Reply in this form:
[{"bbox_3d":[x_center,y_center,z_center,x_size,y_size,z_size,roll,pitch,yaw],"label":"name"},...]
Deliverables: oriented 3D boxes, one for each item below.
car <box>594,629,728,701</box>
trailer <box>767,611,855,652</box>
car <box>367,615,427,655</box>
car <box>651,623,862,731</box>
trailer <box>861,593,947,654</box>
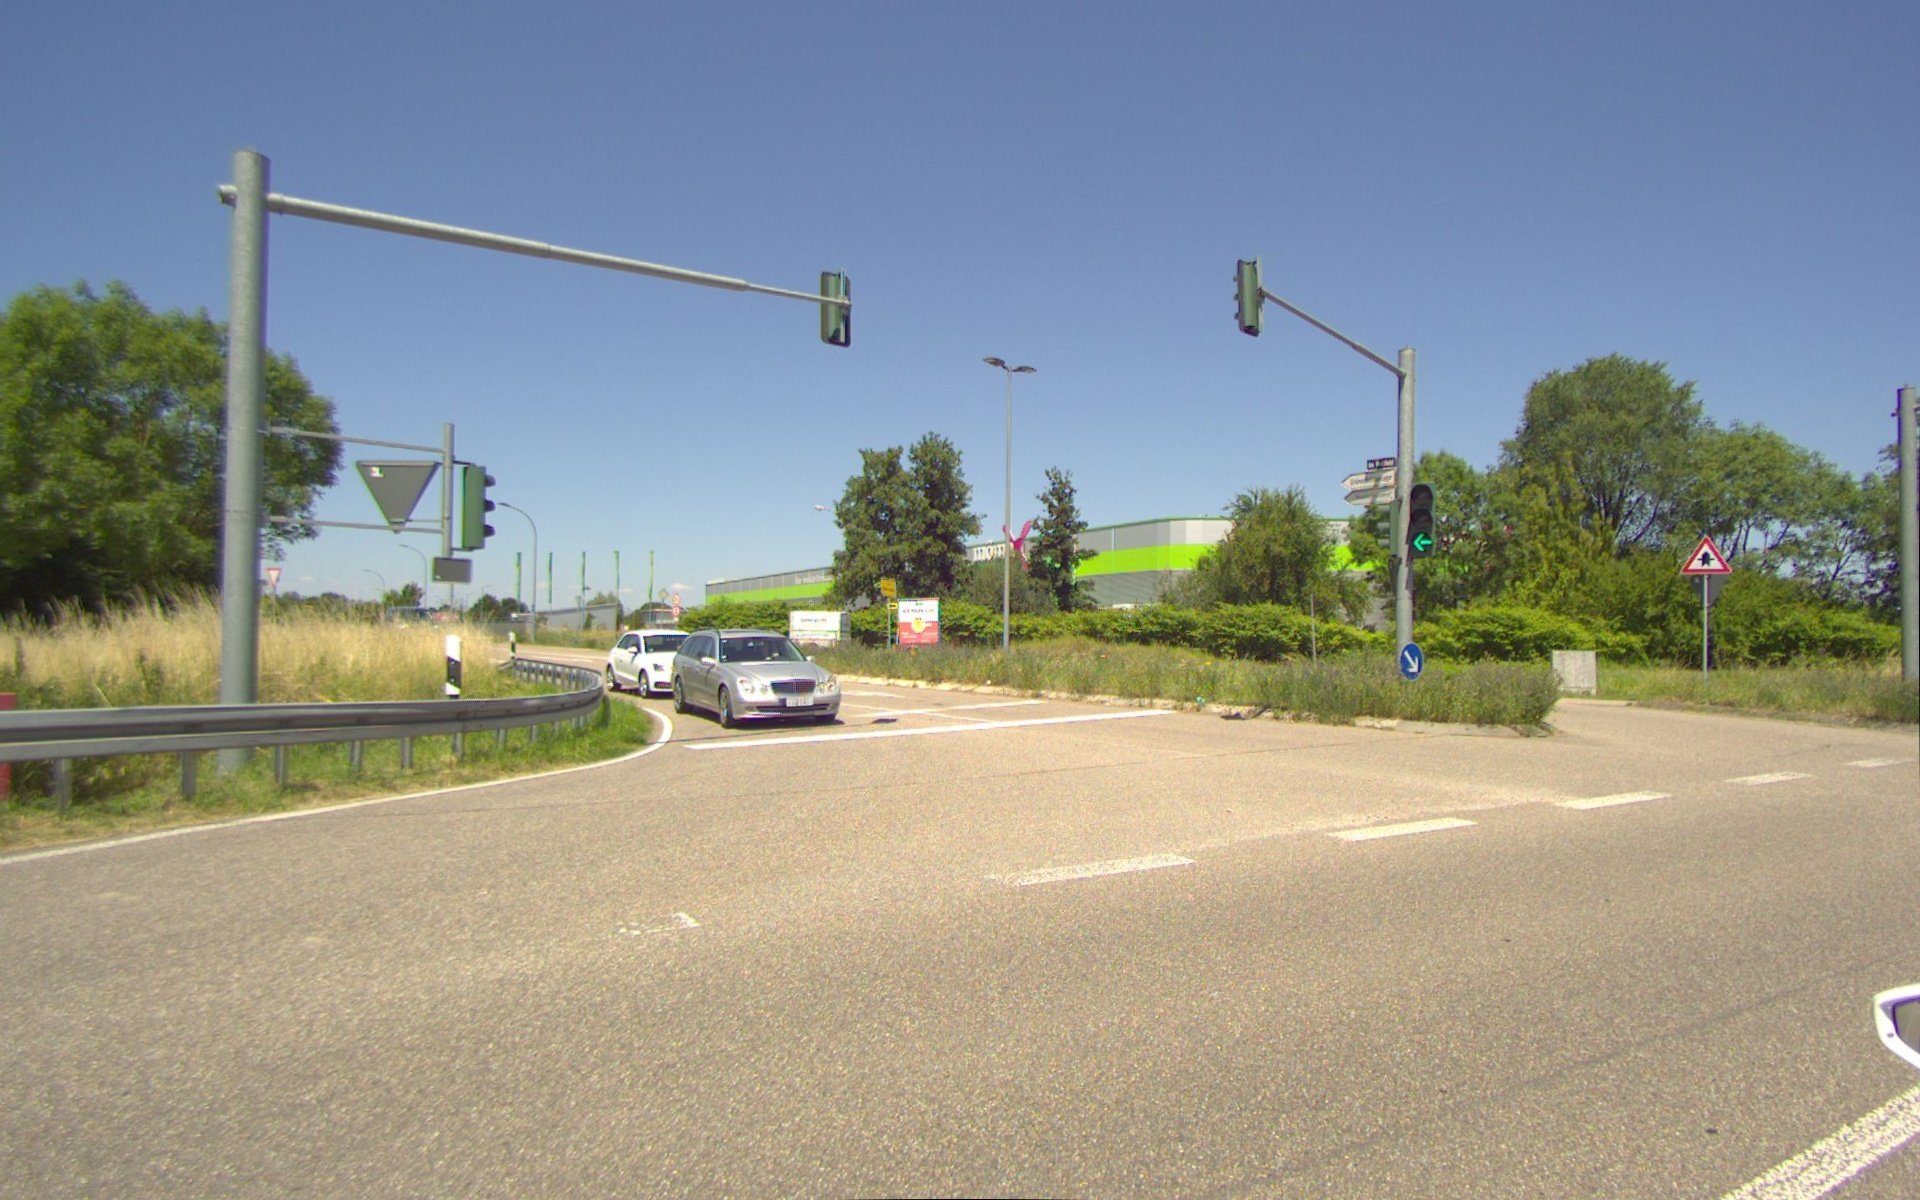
[{"bbox_3d":[-6.875,1.404,22.839,1.754,1.417,3.924,1,-1,-35],"label":"car"},{"bbox_3d":[-7.070,1.491,47.738,3.683,1.814,1.828,1,-1,15],"label":"trailer"},{"bbox_3d":[-25.006,1.518,44.560,1.755,1.646,4.189,1,-1,-37],"label":"car"},{"bbox_3d":[-3.579,1.169,16.853,1.857,1.476,4.927,2,-2,-32],"label":"car"},{"bbox_3d":[-2.682,1.104,48.121,3.682,2.801,1.828,1,-1,14],"label":"trailer"}]
